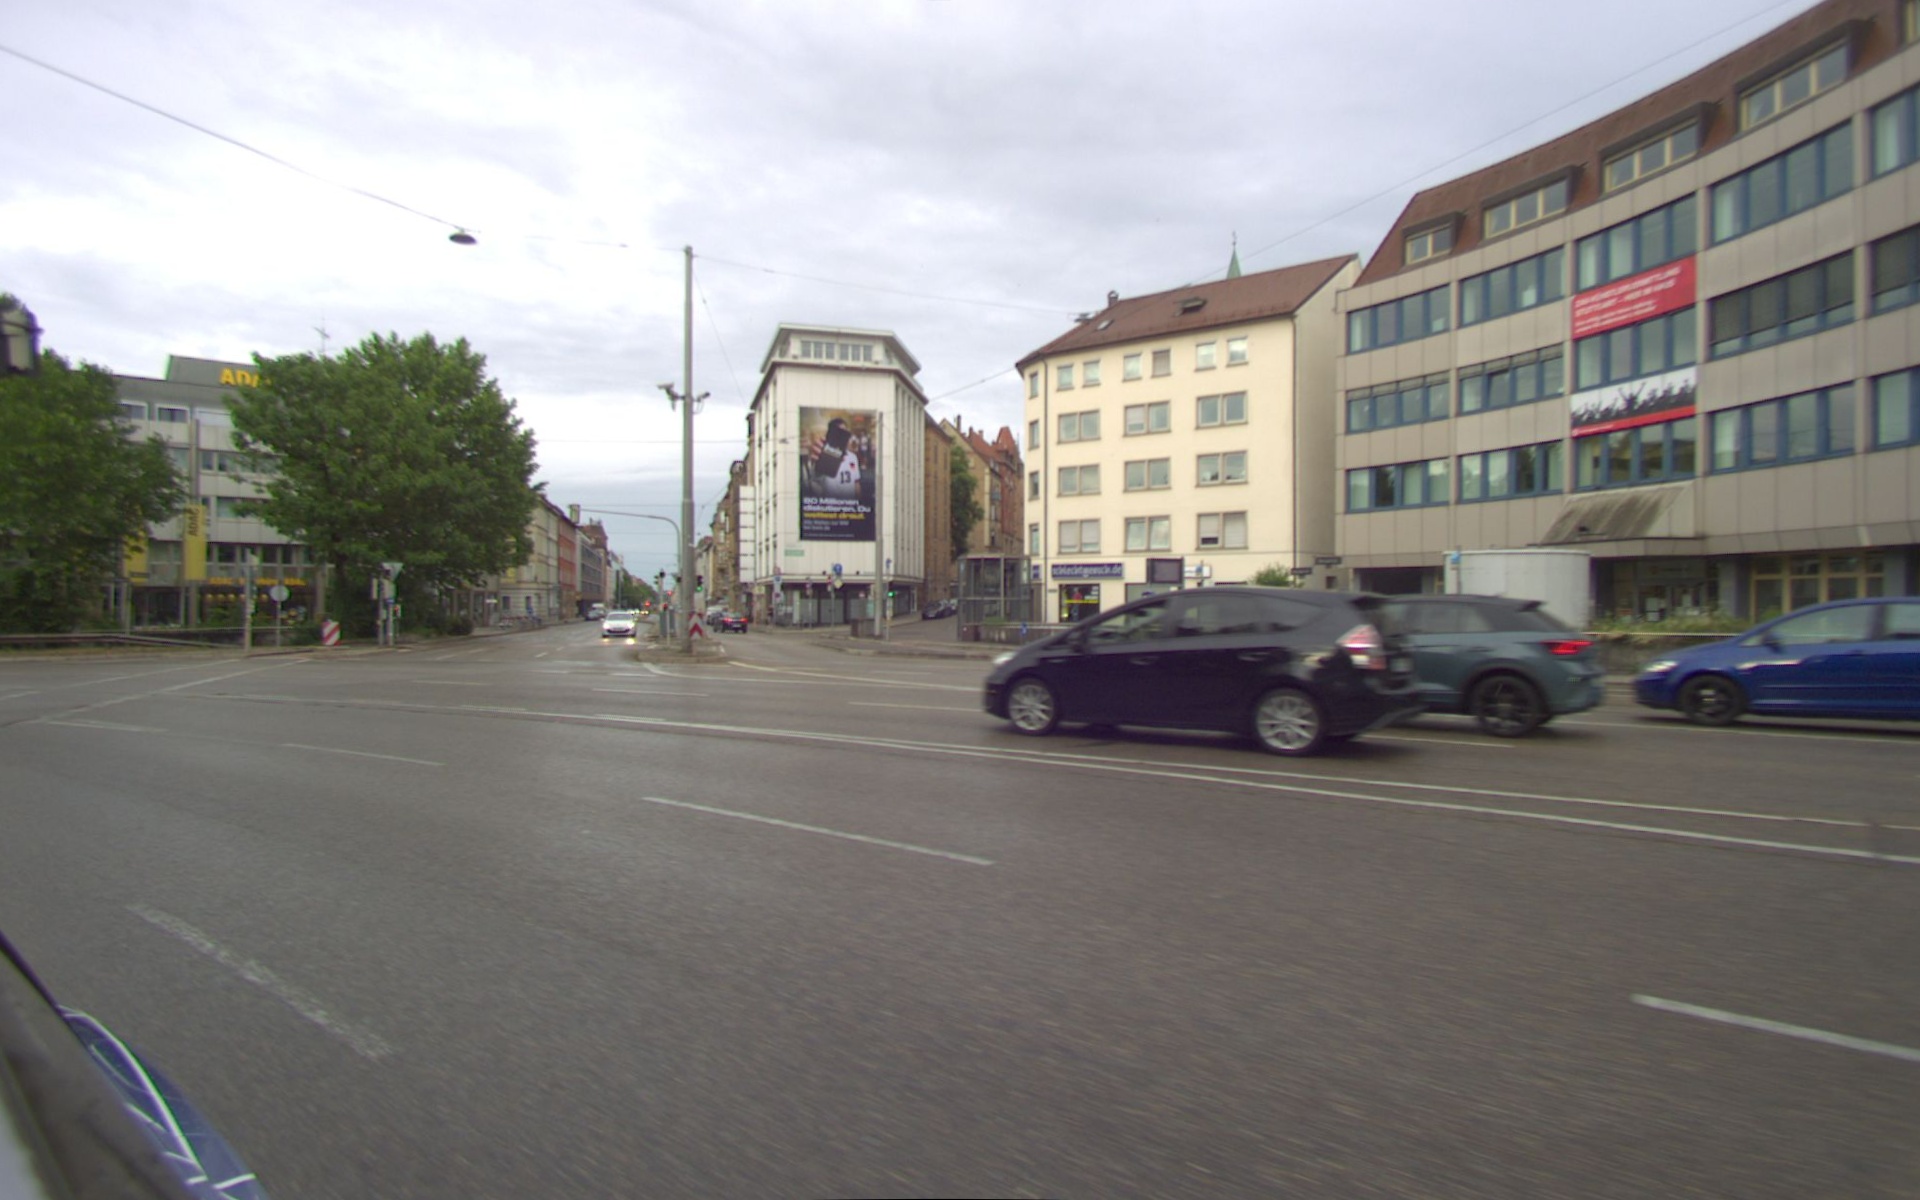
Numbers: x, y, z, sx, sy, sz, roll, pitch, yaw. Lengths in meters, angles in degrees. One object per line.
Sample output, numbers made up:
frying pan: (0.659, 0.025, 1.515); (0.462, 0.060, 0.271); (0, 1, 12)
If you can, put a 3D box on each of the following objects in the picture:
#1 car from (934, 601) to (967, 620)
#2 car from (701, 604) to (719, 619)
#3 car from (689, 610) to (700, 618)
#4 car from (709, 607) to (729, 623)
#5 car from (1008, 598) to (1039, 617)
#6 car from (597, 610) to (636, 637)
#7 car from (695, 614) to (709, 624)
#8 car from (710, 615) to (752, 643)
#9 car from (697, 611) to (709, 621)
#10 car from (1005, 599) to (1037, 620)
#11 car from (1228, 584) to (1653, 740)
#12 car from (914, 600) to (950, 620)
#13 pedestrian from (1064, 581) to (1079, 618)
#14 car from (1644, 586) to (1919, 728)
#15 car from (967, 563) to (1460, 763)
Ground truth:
car: (-0.842, 0.939, 88.811); (1.901, 1.603, 3.980); (0, -1, 15)
car: (-27.826, 1.258, 112.568); (1.844, 1.590, 4.011); (0, -1, -14)
car: (-44.870, 2.339, 171.218); (1.751, 1.331, 3.687); (0, -1, -14)
car: (-24.526, 1.479, 102.825); (1.844, 1.590, 4.011); (0, -1, -14)
car: (5.436, 0.664, 85.971); (1.901, 1.603, 3.980); (0, -1, 15)
car: (-19.401, 1.280, 57.214); (1.966, 1.462, 4.241); (0, -1, -17)
car: (-35.682, 2.628, 140.158); (1.751, 1.331, 3.687); (0, -1, -13)
car: (-16.510, 2.055, 72.714); (1.965, 1.857, 4.455); (1, -1, -26)
car: (-38.111, 2.367, 150.026); (1.751, 1.331, 3.687); (0, -1, -13)
car: (4.813, 0.720, 79.498); (1.744, 1.603, 3.778); (0, -1, 15)
car: (5.533, 0.626, 12.070); (1.796, 1.524, 4.237); (1, -1, -43)
car: (-2.282, 0.848, 82.734); (1.901, 1.603, 3.980); (0, -1, 15)
pedestrian: (6.158, -0.043, 55.821); (0.675, 2.029, 0.560); (0, -1, 34)
car: (10.564, 0.623, 11.800); (4.119, 1.524, 1.744); (0, -1, 41)
car: (2.435, 0.554, 10.406); (4.586, 1.635, 1.836); (-1, -2, 38)
